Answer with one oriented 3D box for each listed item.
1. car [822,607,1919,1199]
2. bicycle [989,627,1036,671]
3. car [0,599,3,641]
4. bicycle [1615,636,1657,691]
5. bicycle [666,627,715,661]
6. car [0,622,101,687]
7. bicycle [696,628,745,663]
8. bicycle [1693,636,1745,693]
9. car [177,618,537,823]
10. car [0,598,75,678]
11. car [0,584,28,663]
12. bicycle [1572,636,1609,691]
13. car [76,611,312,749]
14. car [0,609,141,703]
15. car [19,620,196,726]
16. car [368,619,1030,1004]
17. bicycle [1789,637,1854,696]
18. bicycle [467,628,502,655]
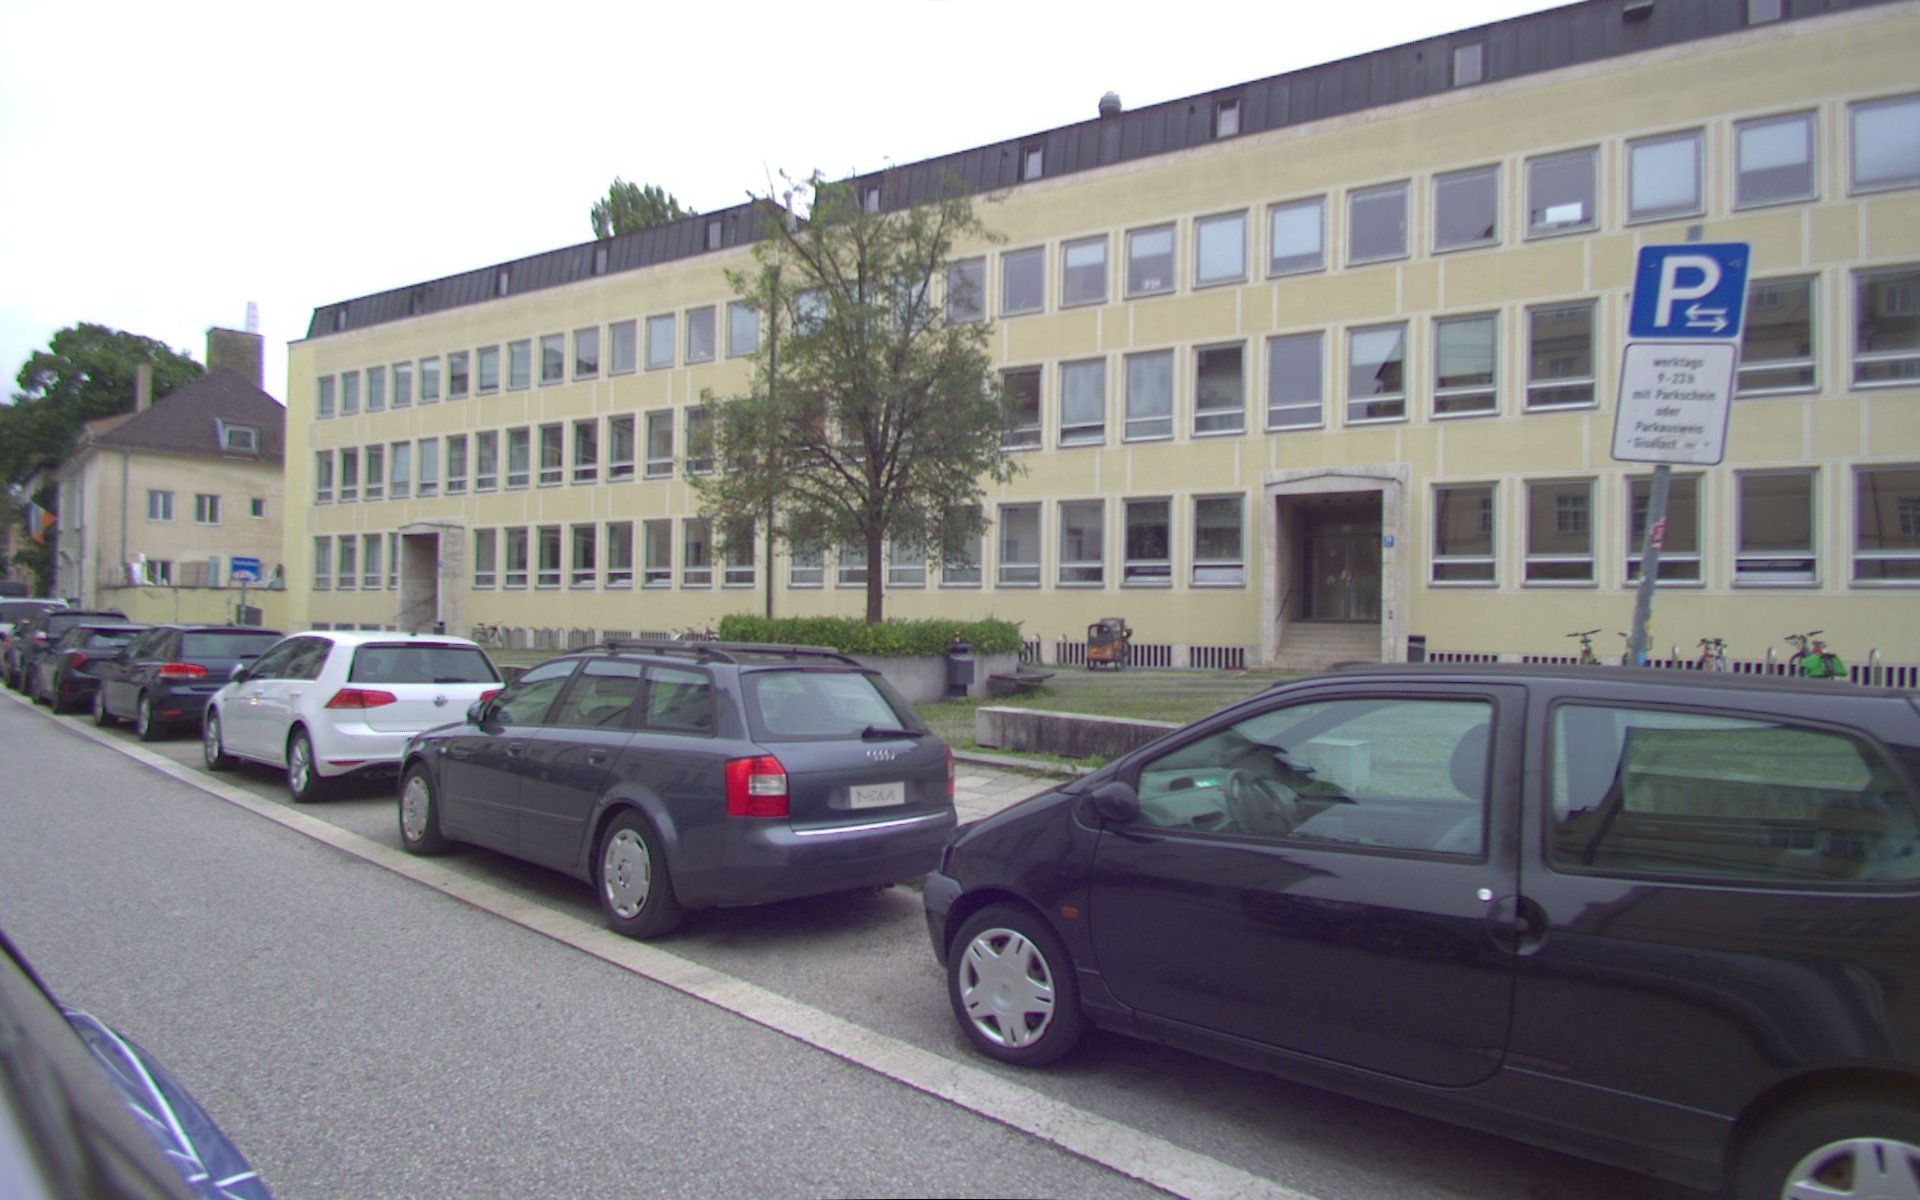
[{"bbox_3d":[1.450,0.812,3.485,3.751,1.492,1.704,0,-3,40],"label":"car"},{"bbox_3d":[1.375,1.256,26.340,0.572,1.036,1.821,0,0,26],"label":"bicycle"},{"bbox_3d":[-51.332,1.032,52.416,4.959,2.098,2.186,0,1,43],"label":"car"},{"bbox_3d":[13.013,1.199,19.515,0.435,0.924,1.890,0,1,26],"label":"bicycle"},{"bbox_3d":[-8.561,1.385,32.220,0.388,0.997,1.721,0,1,31],"label":"bicycle"},{"bbox_3d":[-22.219,1.280,24.418,3.454,1.415,1.722,0,-3,41],"label":"car"},{"bbox_3d":[-7.374,1.394,31.259,0.388,0.997,1.721,0,1,31],"label":"bicycle"},{"bbox_3d":[14.185,1.185,18.944,0.435,0.924,1.890,0,1,26],"label":"bicycle"},{"bbox_3d":[-5.926,0.992,9.768,3.996,1.541,1.704,0,-3,40],"label":"car"},{"bbox_3d":[-25.398,0.962,27.045,4.352,1.991,1.924,0,-3,40],"label":"car"},{"bbox_3d":[-35.081,0.804,36.334,4.959,2.737,1.972,0,1,43],"label":"car"},{"bbox_3d":[12.351,1.222,19.856,0.435,0.924,1.890,0,1,26],"label":"bicycle"},{"bbox_3d":[-10.542,0.960,13.823,4.080,1.557,1.722,0,1,40],"label":"car"},{"bbox_3d":[-18.180,1.069,20.512,4.121,1.701,1.722,0,-3,41],"label":"car"},{"bbox_3d":[-14.270,1.121,16.888,3.684,1.478,1.722,0,1,41],"label":"car"},{"bbox_3d":[-1.787,0.913,6.095,4.201,1.492,1.704,0,-3,40],"label":"car"},{"bbox_3d":[15.490,1.172,18.236,0.435,0.924,1.890,0,1,26],"label":"bicycle"},{"bbox_3d":[-17.157,1.498,36.554,0.287,0.909,1.232,0,0,27],"label":"bicycle"}]
